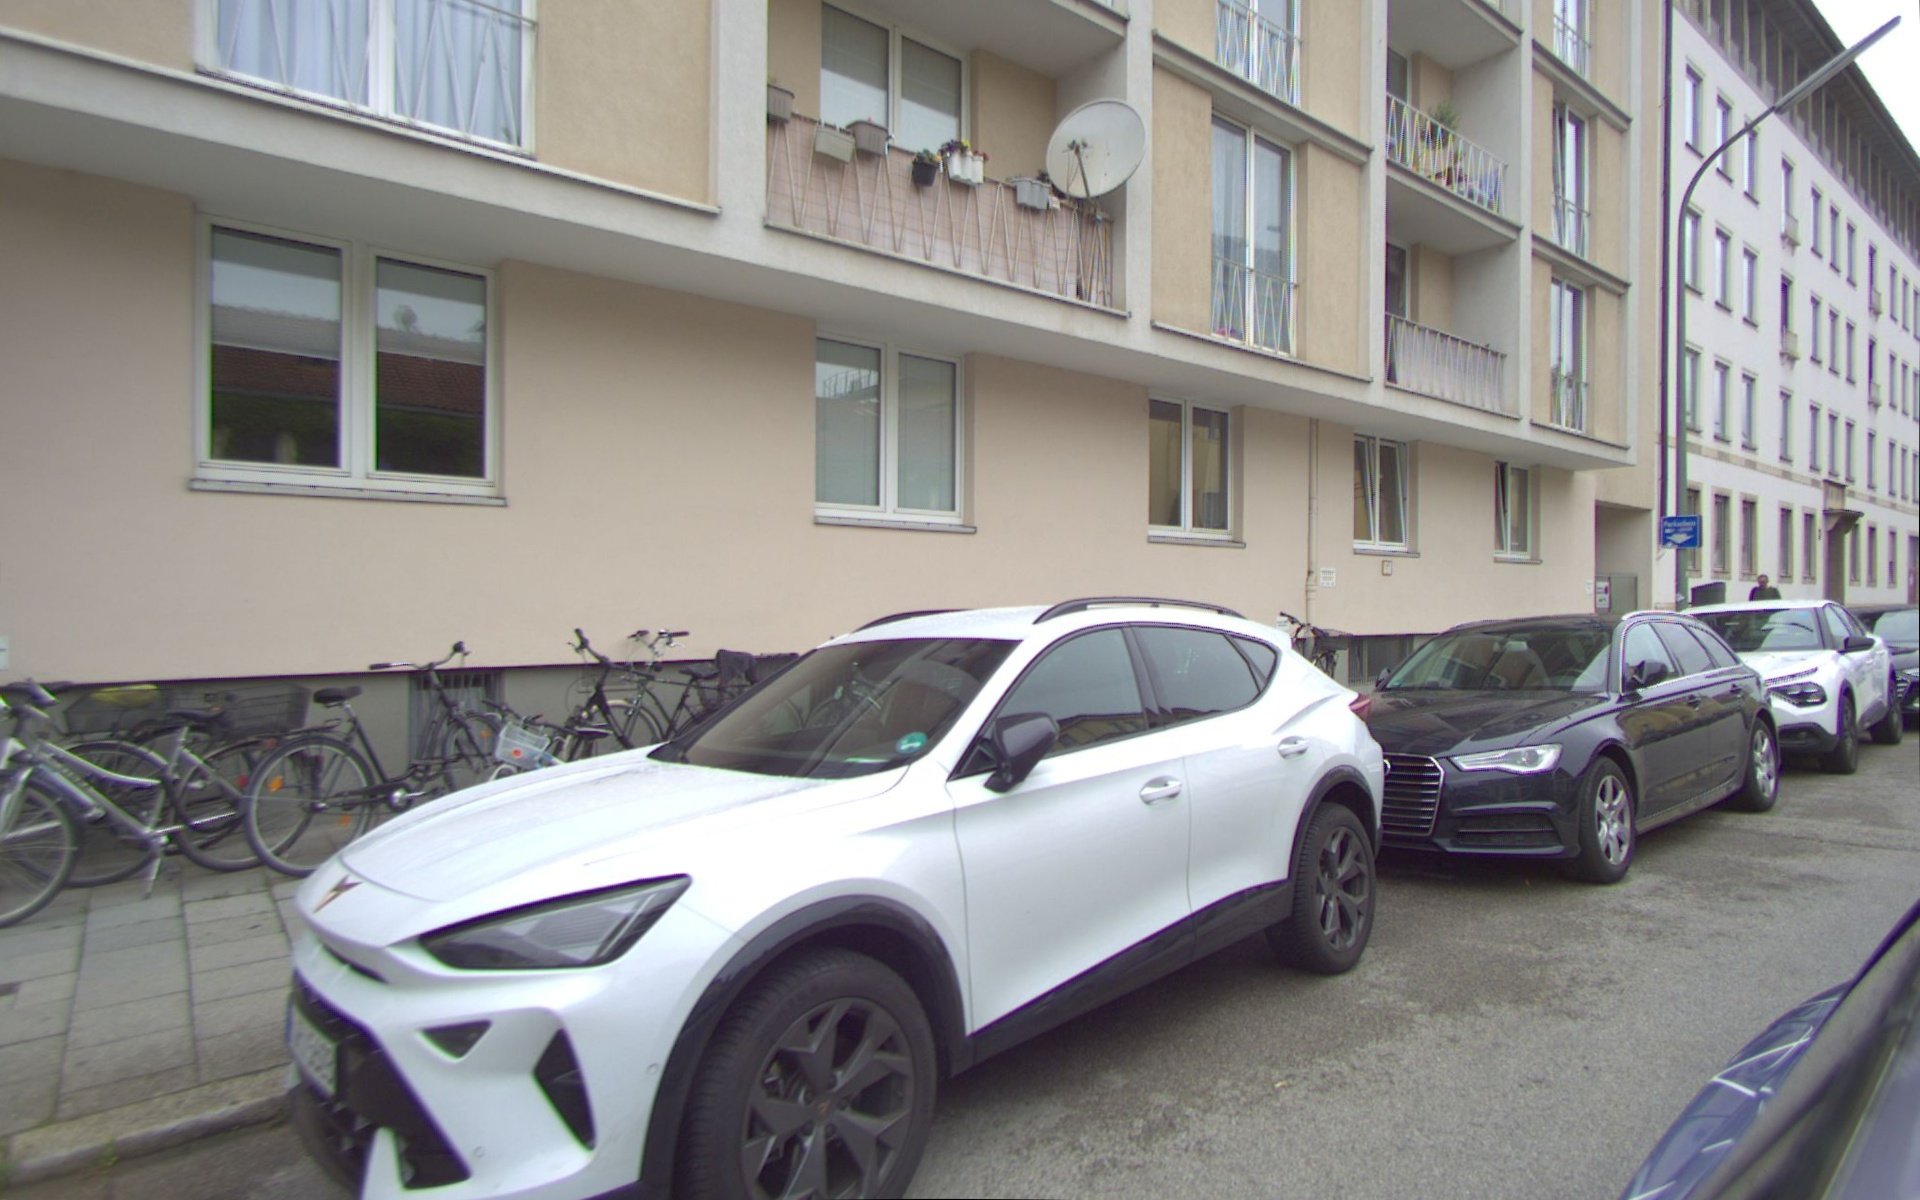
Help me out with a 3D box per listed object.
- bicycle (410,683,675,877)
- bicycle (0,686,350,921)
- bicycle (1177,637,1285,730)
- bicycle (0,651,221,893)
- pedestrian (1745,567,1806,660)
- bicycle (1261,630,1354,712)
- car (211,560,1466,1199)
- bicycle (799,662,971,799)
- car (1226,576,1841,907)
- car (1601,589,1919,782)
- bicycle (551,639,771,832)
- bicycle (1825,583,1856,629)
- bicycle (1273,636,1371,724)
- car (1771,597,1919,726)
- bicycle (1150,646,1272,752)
[{"bbox_3d":[-2.376,0.985,5.847,1.366,0.916,0.379,0,0,-37],"label":"bicycle"},{"bbox_3d":[-4.037,0.957,5.002,1.705,0.935,0.456,0,0,-41],"label":"bicycle"},{"bbox_3d":[2.970,0.886,11.038,1.366,0.916,0.379,0,0,-37],"label":"bicycle"},{"bbox_3d":[-4.828,0.855,5.046,1.821,1.124,0.456,0,0,-41],"label":"bicycle"},{"bbox_3d":[16.277,0.253,20.202,0.888,1.785,0.725,-3,1,-37],"label":"pedestrian"},{"bbox_3d":[4.225,0.839,12.264,1.366,0.916,0.379,0,0,-37],"label":"bicycle"},{"bbox_3d":[0.090,0.747,3.853,4.570,1.553,1.786,0,-3,-44],"label":"car"},{"bbox_3d":[-0.565,0.982,7.917,1.366,0.916,0.379,0,0,-37],"label":"bicycle"},{"bbox_3d":[4.232,0.701,7.051,5.069,1.542,1.883,0,-3,-38],"label":"car"},{"bbox_3d":[8.152,0.688,10.057,4.499,1.508,1.697,0,-2,-40],"label":"car"},{"bbox_3d":[-1.966,0.852,6.759,1.366,1.133,0.379,0,0,-37],"label":"bicycle"},{"bbox_3d":[24.402,0.156,28.034,1.956,1.237,0.513,1,0,-45],"label":"bicycle"},{"bbox_3d":[4.198,0.899,11.693,1.366,0.916,0.379,0,0,-37],"label":"bicycle"},{"bbox_3d":[12.073,0.674,12.916,4.866,1.406,1.748,0,-2,-40],"label":"car"},{"bbox_3d":[2.472,0.943,9.913,1.366,0.916,0.379,0,1,-37],"label":"bicycle"}]
